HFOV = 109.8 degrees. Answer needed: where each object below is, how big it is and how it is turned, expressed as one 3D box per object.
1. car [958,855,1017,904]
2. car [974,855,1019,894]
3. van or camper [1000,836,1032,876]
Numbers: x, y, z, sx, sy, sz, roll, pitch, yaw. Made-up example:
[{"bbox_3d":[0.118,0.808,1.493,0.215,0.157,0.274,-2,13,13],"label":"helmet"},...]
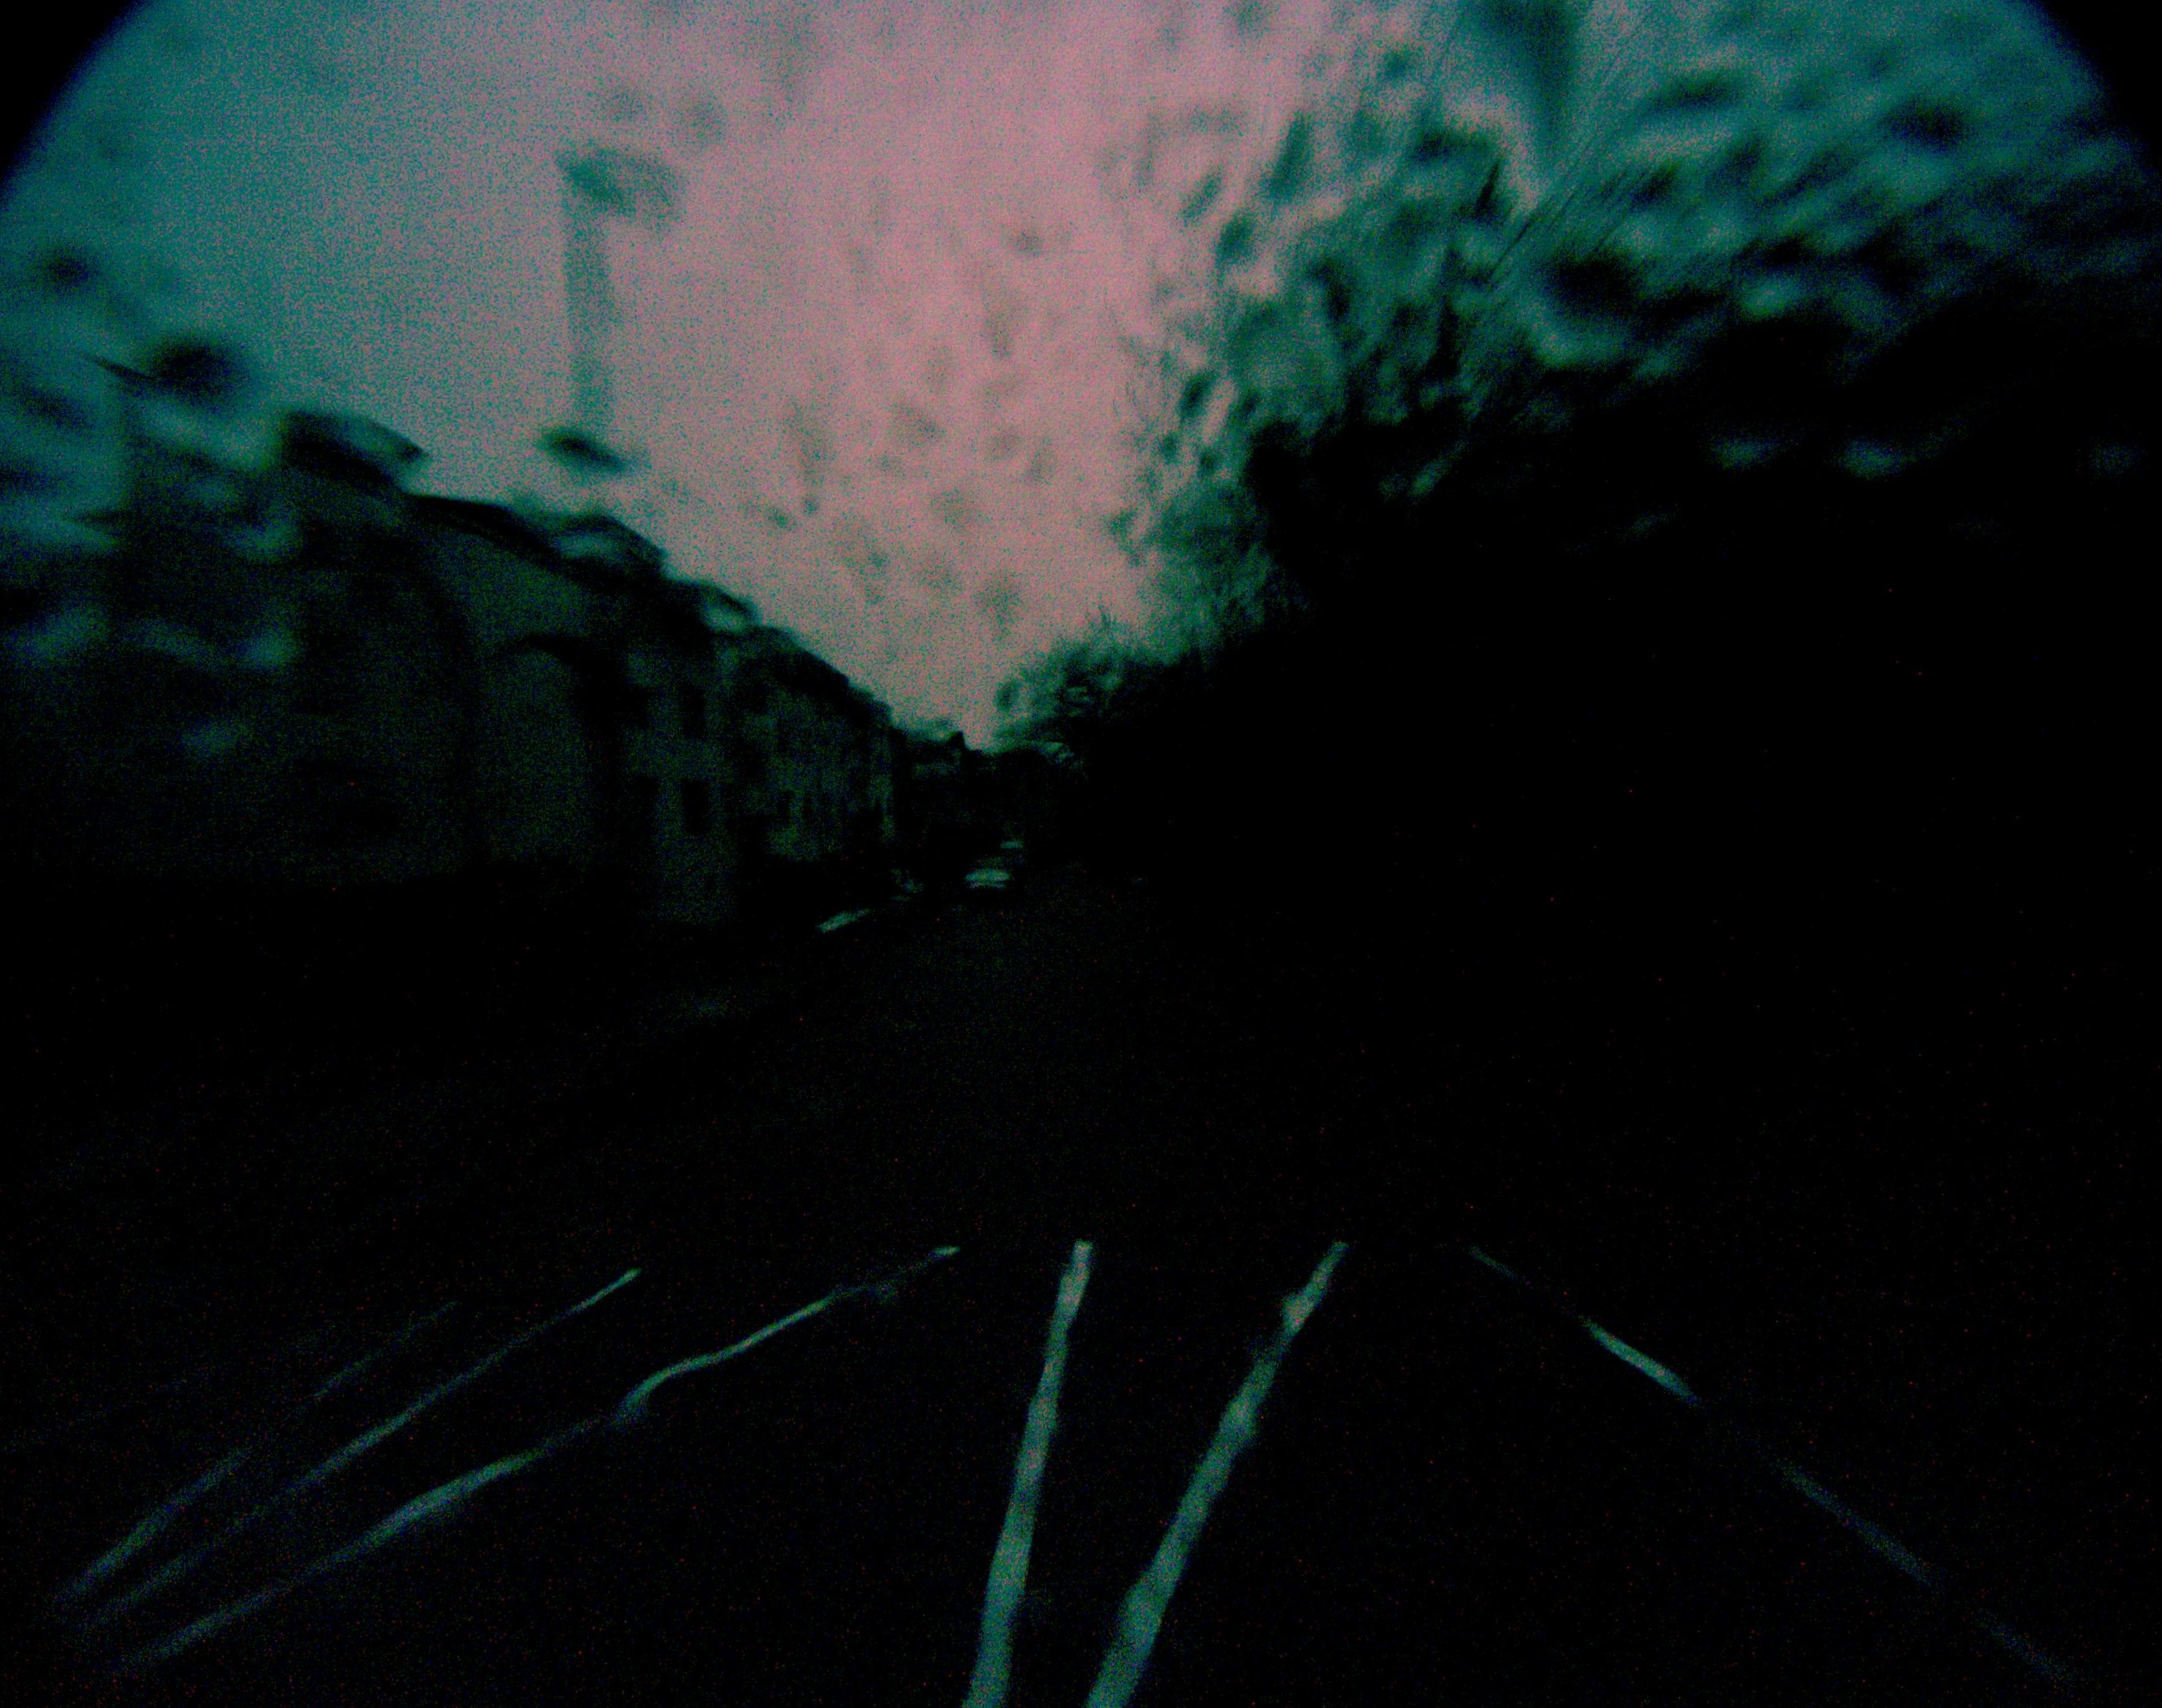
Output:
[{"bbox_3d":[-3.134,0.810,26.172,1.743,1.421,4.454,-2,1,-4],"label":"car"},{"bbox_3d":[-3.483,0.807,32.103,1.660,1.421,4.562,-2,1,-4],"label":"car"},{"bbox_3d":[-4.359,0.127,51.049,2.020,2.493,6.789,0,0,-5],"label":"van or camper"}]
